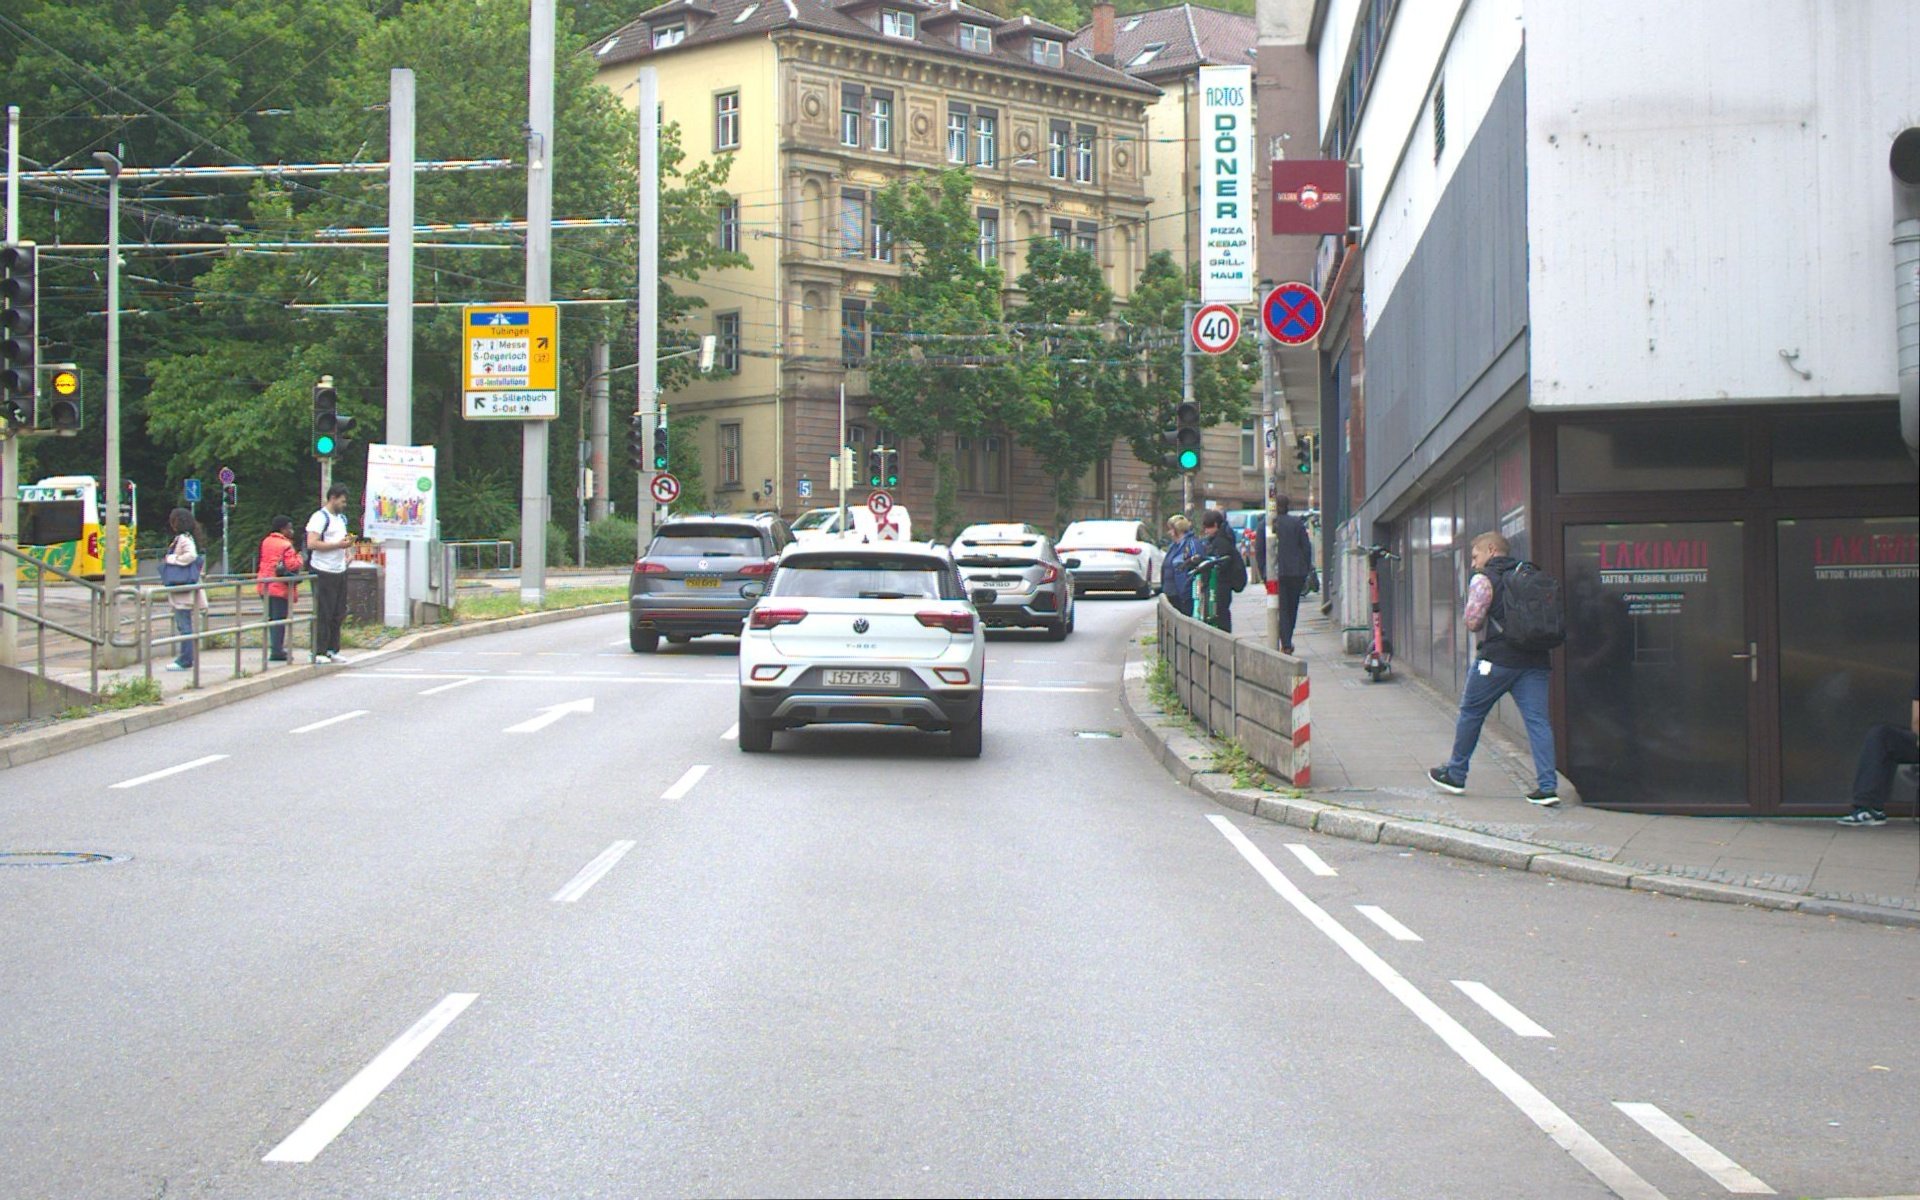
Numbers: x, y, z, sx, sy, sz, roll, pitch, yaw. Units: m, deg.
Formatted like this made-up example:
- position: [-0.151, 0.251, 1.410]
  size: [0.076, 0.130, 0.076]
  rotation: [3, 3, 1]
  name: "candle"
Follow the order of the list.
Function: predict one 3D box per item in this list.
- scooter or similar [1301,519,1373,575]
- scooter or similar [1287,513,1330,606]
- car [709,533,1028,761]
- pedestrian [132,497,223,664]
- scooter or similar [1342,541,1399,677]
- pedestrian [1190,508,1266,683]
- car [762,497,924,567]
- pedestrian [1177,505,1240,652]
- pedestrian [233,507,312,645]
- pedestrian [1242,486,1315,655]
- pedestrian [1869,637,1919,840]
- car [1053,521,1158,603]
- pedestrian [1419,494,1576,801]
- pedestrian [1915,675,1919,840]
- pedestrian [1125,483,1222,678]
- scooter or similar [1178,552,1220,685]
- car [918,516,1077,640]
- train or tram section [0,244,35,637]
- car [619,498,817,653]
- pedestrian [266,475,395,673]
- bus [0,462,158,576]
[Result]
- position: [8.068, -1.130, 73.571]
  size: [1.440, 1.178, 0.583]
  rotation: [-1, 1, -24]
  name: "scooter or similar"
- position: [5.583, -0.656, 55.065]
  size: [0.668, 1.470, 1.178]
  rotation: [0, 1, 7]
  name: "scooter or similar"
- position: [-0.600, 0.289, 25.894]
  size: [1.938, 1.561, 4.045]
  rotation: [1, 1, 5]
  name: "car"
- position: [-7.727, -0.198, 33.970]
  size: [0.675, 1.619, 1.001]
  rotation: [0, 1, -1]
  name: "pedestrian"
- position: [3.925, 0.078, 32.840]
  size: [0.428, 1.271, 0.980]
  rotation: [0, 1, 14]
  name: "scooter or similar"
- position: [2.797, -0.053, 35.906]
  size: [0.738, 1.787, 0.655]
  rotation: [1, 1, 4]
  name: "pedestrian"
- position: [-3.554, -2.049, 105.165]
  size: [1.998, 1.843, 4.980]
  rotation: [1, -2, 42]
  name: "car"
- position: [2.880, -0.255, 39.816]
  size: [0.562, 1.646, 0.591]
  rotation: [-6, 1, 3]
  name: "pedestrian"
- position: [-7.472, -0.250, 37.389]
  size: [0.577, 1.459, 0.675]
  rotation: [-2, -3, 19]
  name: "pedestrian"
- position: [3.453, -0.326, 37.268]
  size: [0.727, 1.802, 0.654]
  rotation: [1, 1, 4]
  name: "pedestrian"
- position: [6.128, 0.869, 21.620]
  size: [0.735, 1.231, 0.717]
  rotation: [2, 1, 16]
  name: "pedestrian"
- position: [2.764, -0.744, 65.765]
  size: [1.938, 1.501, 3.806]
  rotation: [1, 1, 2]
  name: "car"
- position: [3.202, 0.271, 20.546]
  size: [0.720, 1.779, 0.883]
  rotation: [1, 1, -3]
  name: "pedestrian"
- position: [6.346, 0.854, 20.675]
  size: [1.107, 1.184, 0.742]
  rotation: [2, 1, 17]
  name: "pedestrian"
- position: [2.313, -0.217, 37.243]
  size: [0.946, 2.055, 0.778]
  rotation: [3, 1, 4]
  name: "pedestrian"
- position: [2.332, 0.174, 33.541]
  size: [0.354, 1.271, 0.813]
  rotation: [1, 1, 2]
  name: "scooter or similar"
- position: [0.550, -0.317, 46.615]
  size: [1.903, 1.568, 3.834]
  rotation: [1, 1, 4]
  name: "car"
- position: [-10.164, -1.175, 25.581]
  size: [2.881, 3.651, 14.479]
  rotation: [-3, 2, -2]
  name: "train or tram section"
- position: [-2.900, -0.329, 42.003]
  size: [1.839, 1.734, 4.000]
  rotation: [2, 1, 4]
  name: "car"
- position: [-6.743, -0.262, 36.856]
  size: [0.966, 2.060, 1.031]
  rotation: [-2, -3, 19]
  name: "pedestrian"
- position: [-28.096, -2.175, 94.335]
  size: [11.517, 3.019, 3.388]
  rotation: [0, 1, 14]
  name: "bus"
